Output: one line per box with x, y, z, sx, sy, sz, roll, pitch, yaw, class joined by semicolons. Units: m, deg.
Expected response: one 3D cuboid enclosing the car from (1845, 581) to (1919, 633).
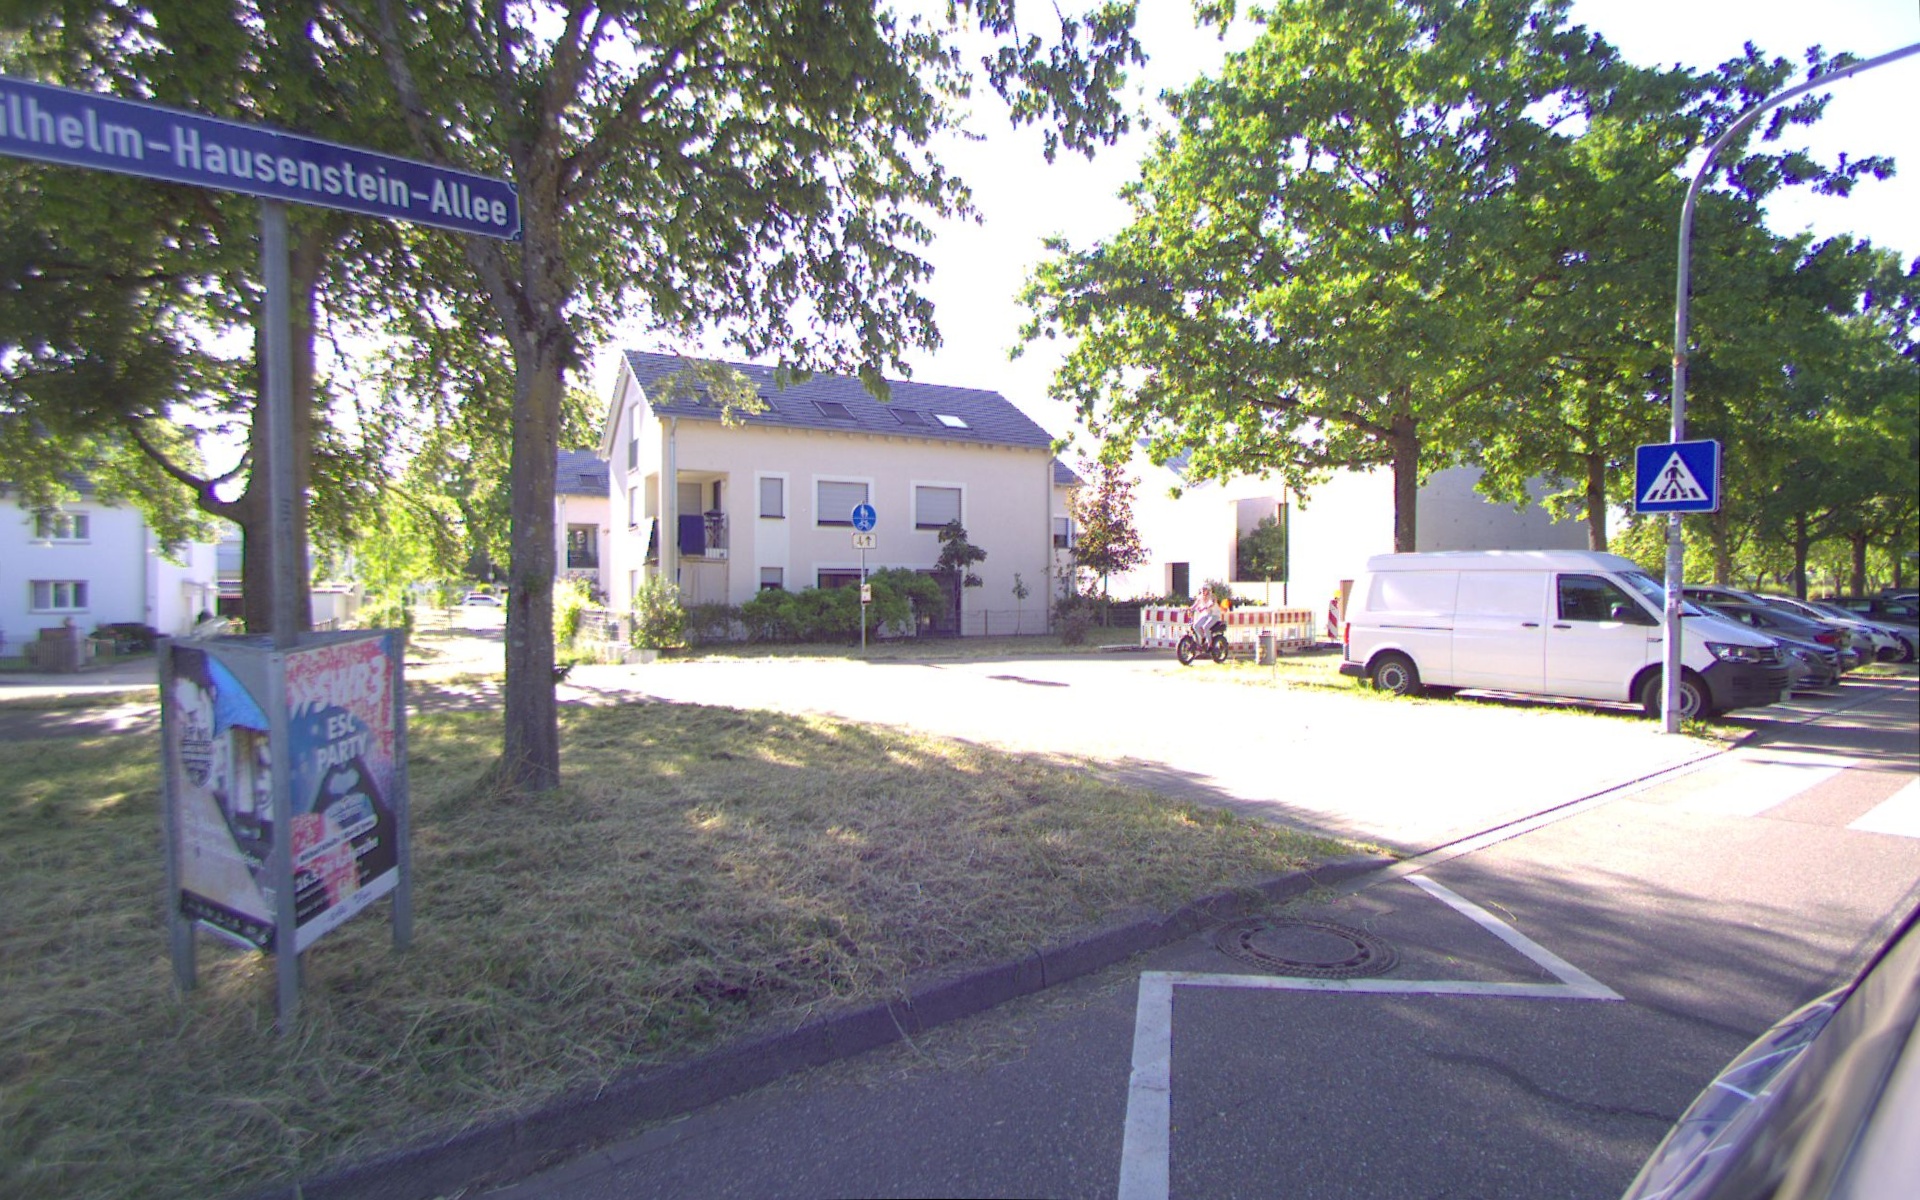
32.945;0.224;34.164;1.504;1.765;4.396;0;0;-37;car

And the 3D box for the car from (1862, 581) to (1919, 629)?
36.013;0.187;36.959;1.504;1.765;4.396;0;0;-37;car

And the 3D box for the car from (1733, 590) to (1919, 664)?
21.517;0.624;24.643;1.504;1.681;4.020;0;0;-37;car

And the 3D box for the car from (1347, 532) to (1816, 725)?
8.012;0.263;13.567;1.857;2.107;5.045;0;1;-39;car

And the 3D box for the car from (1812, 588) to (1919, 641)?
30.409;0.448;32.538;1.504;1.662;4.396;0;0;-37;car

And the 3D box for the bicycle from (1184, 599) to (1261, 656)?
5.614;0.561;21.588;1.797;1.165;0.677;0;0;-40;bicycle

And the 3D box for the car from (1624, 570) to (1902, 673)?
15.703;0.376;19.982;1.681;1.816;4.020;0;0;-37;car

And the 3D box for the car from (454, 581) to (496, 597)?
-62.444;-1.385;130.337;4.543;2.039;1.995;0;0;-43;car

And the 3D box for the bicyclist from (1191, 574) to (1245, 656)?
5.490;0.312;21.524;0.834;1.687;0.726;-1;-1;-40;bicyclist

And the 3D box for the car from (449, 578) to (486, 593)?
-68.320;-1.951;140.436;4.524;2.039;2.003;0;0;-24;car

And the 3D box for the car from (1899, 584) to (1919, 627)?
41.437;0.225;41.262;1.504;1.765;4.396;0;0;-37;car

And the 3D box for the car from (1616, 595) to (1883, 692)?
13.998;0.704;18.100;1.421;1.561;3.517;0;0;-37;car

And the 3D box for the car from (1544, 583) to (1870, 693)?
12.102;0.550;16.632;1.725;1.583;3.997;0;0;-37;car

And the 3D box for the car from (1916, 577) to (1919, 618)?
43.365;-0.115;42.581;1.504;1.765;4.396;0;0;-37;car

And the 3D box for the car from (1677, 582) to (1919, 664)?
18.993;0.485;23.091;1.504;1.700;4.020;0;0;-37;car

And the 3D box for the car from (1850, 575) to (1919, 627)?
37.908;0.024;39.630;1.504;2.013;4.396;0;0;-37;car
